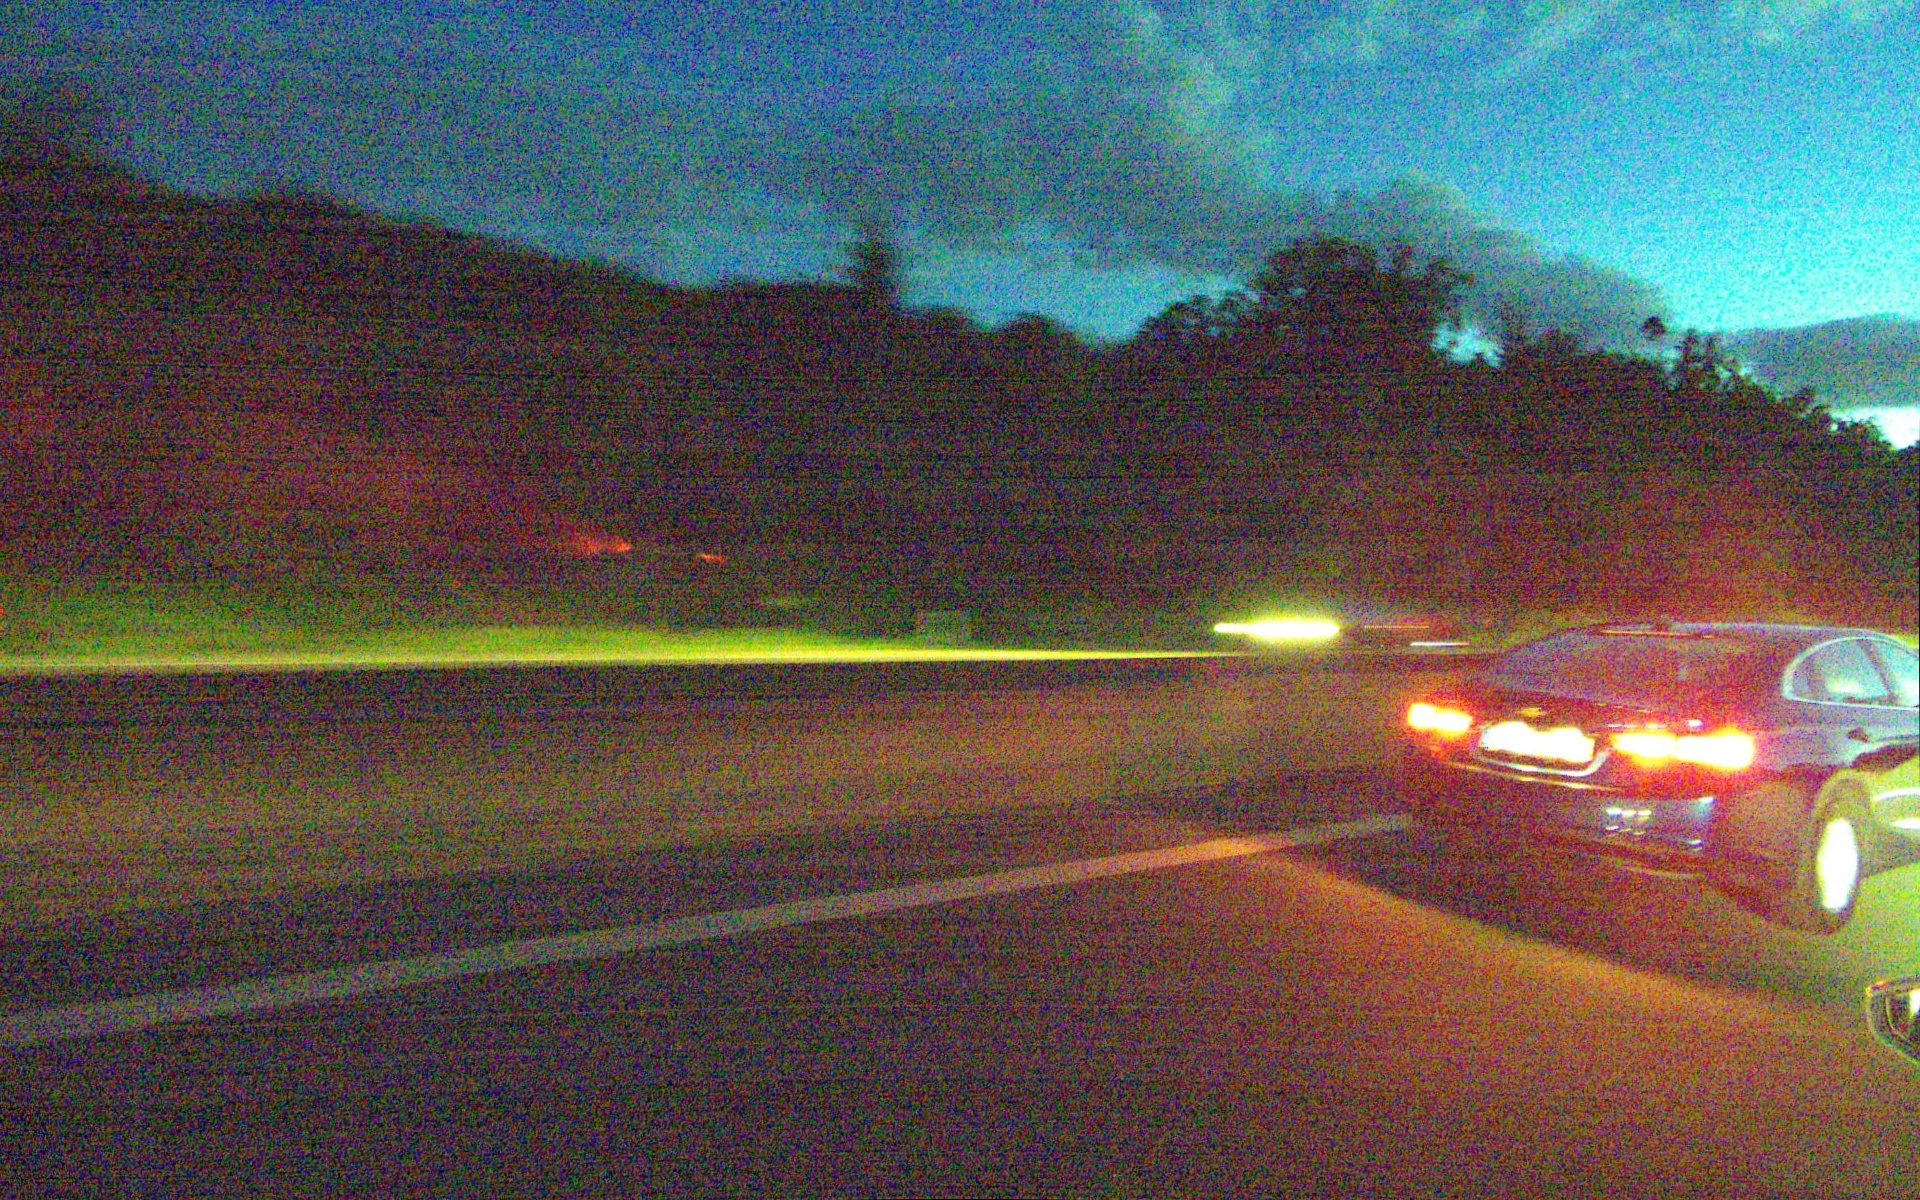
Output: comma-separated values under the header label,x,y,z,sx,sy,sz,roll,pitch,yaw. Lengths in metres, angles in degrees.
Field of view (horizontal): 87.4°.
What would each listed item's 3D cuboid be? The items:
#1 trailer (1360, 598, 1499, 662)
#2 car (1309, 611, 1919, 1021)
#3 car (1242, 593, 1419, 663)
label,x,y,z,sx,sy,sz,roll,pitch,yaw
trailer,13.862,0.872,29.620,3.800,1.770,1.887,2,0,-31
car,4.893,0.873,6.162,5.581,1.539,1.985,0,1,-29
car,10.132,0.759,27.404,4.825,1.770,1.904,2,0,-31
